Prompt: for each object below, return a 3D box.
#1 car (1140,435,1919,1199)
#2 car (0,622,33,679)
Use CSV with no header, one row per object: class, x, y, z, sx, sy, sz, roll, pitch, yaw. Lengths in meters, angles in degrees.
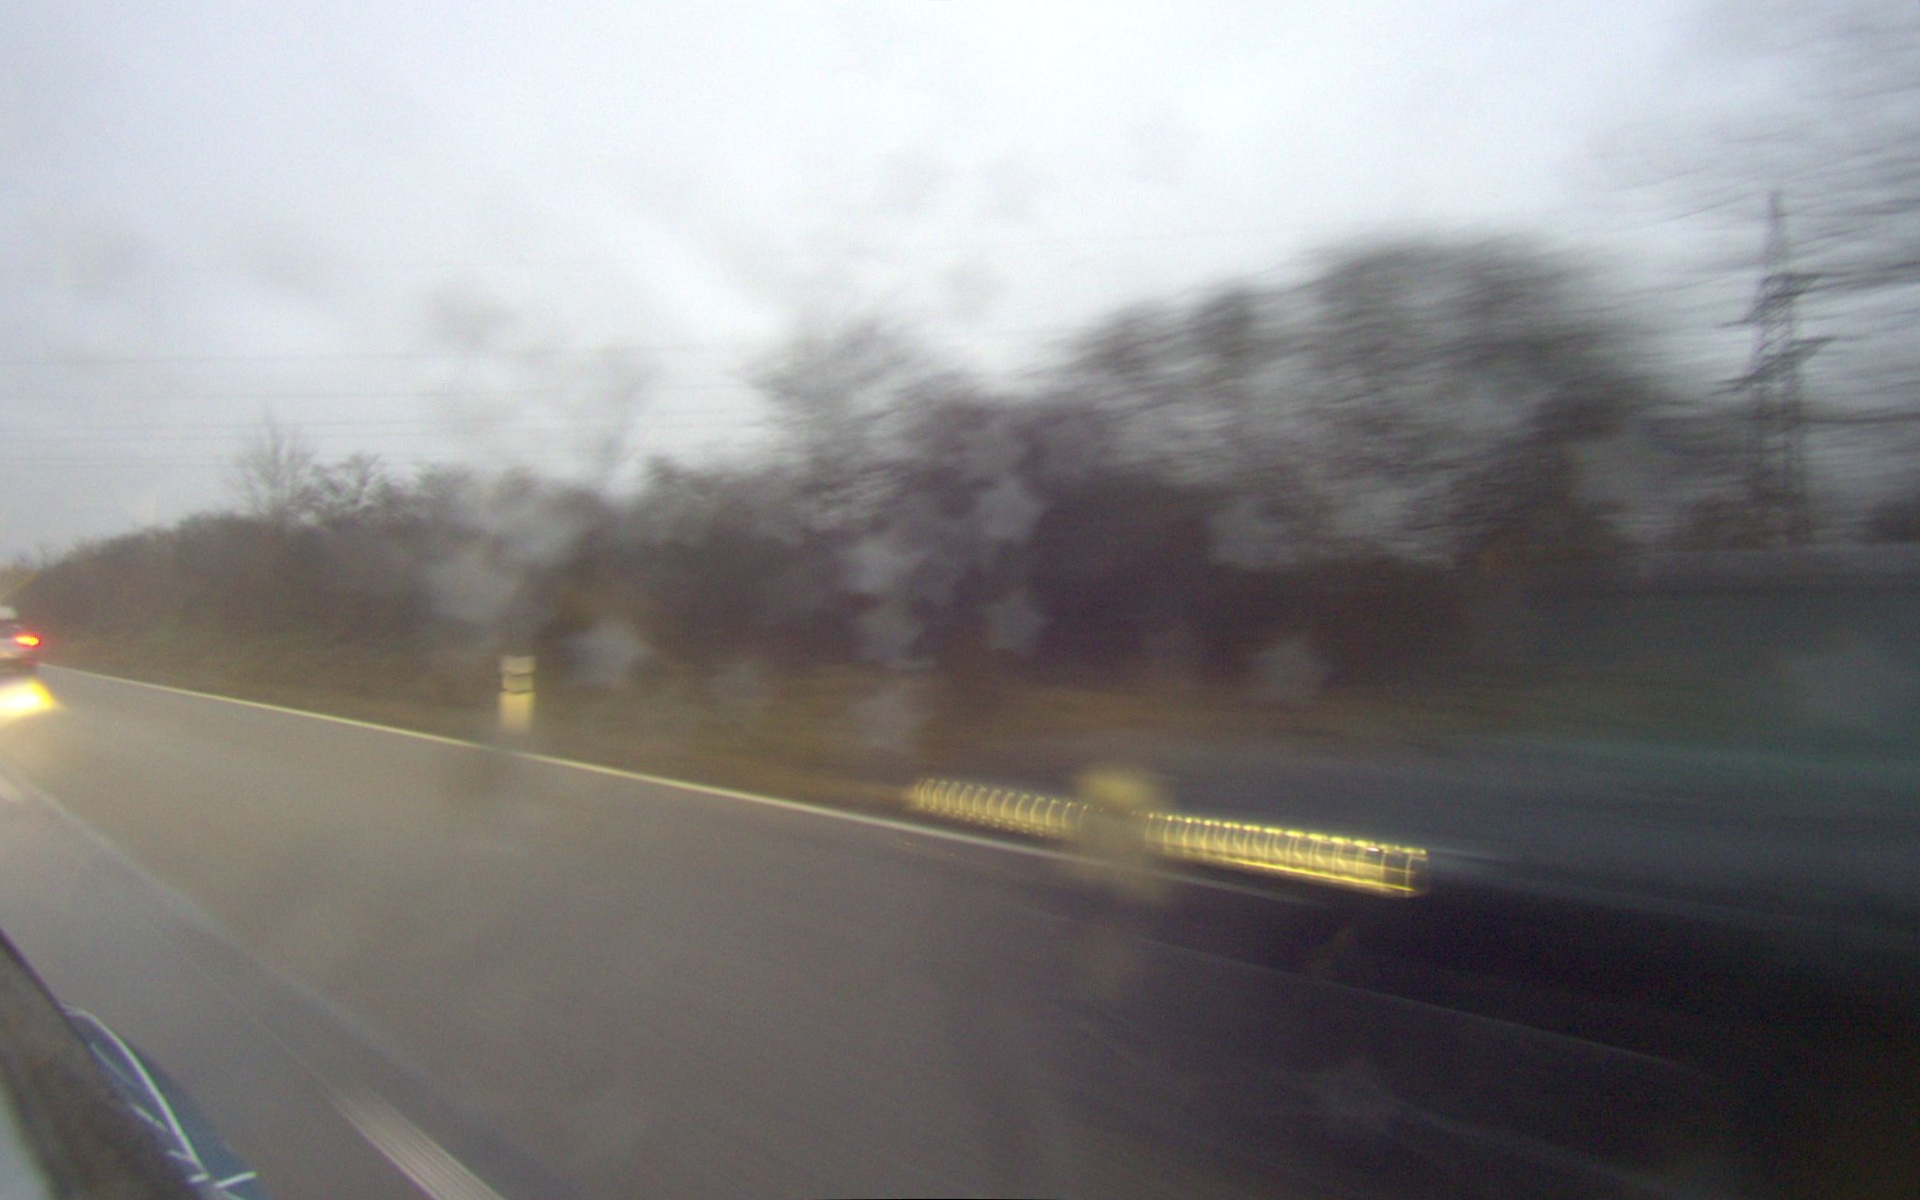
car,2.556,0.556,1.910,4.046,1.659,1.734,-1,-1,40
car,-27.535,1.401,28.517,4.083,1.541,1.674,-1,0,41
